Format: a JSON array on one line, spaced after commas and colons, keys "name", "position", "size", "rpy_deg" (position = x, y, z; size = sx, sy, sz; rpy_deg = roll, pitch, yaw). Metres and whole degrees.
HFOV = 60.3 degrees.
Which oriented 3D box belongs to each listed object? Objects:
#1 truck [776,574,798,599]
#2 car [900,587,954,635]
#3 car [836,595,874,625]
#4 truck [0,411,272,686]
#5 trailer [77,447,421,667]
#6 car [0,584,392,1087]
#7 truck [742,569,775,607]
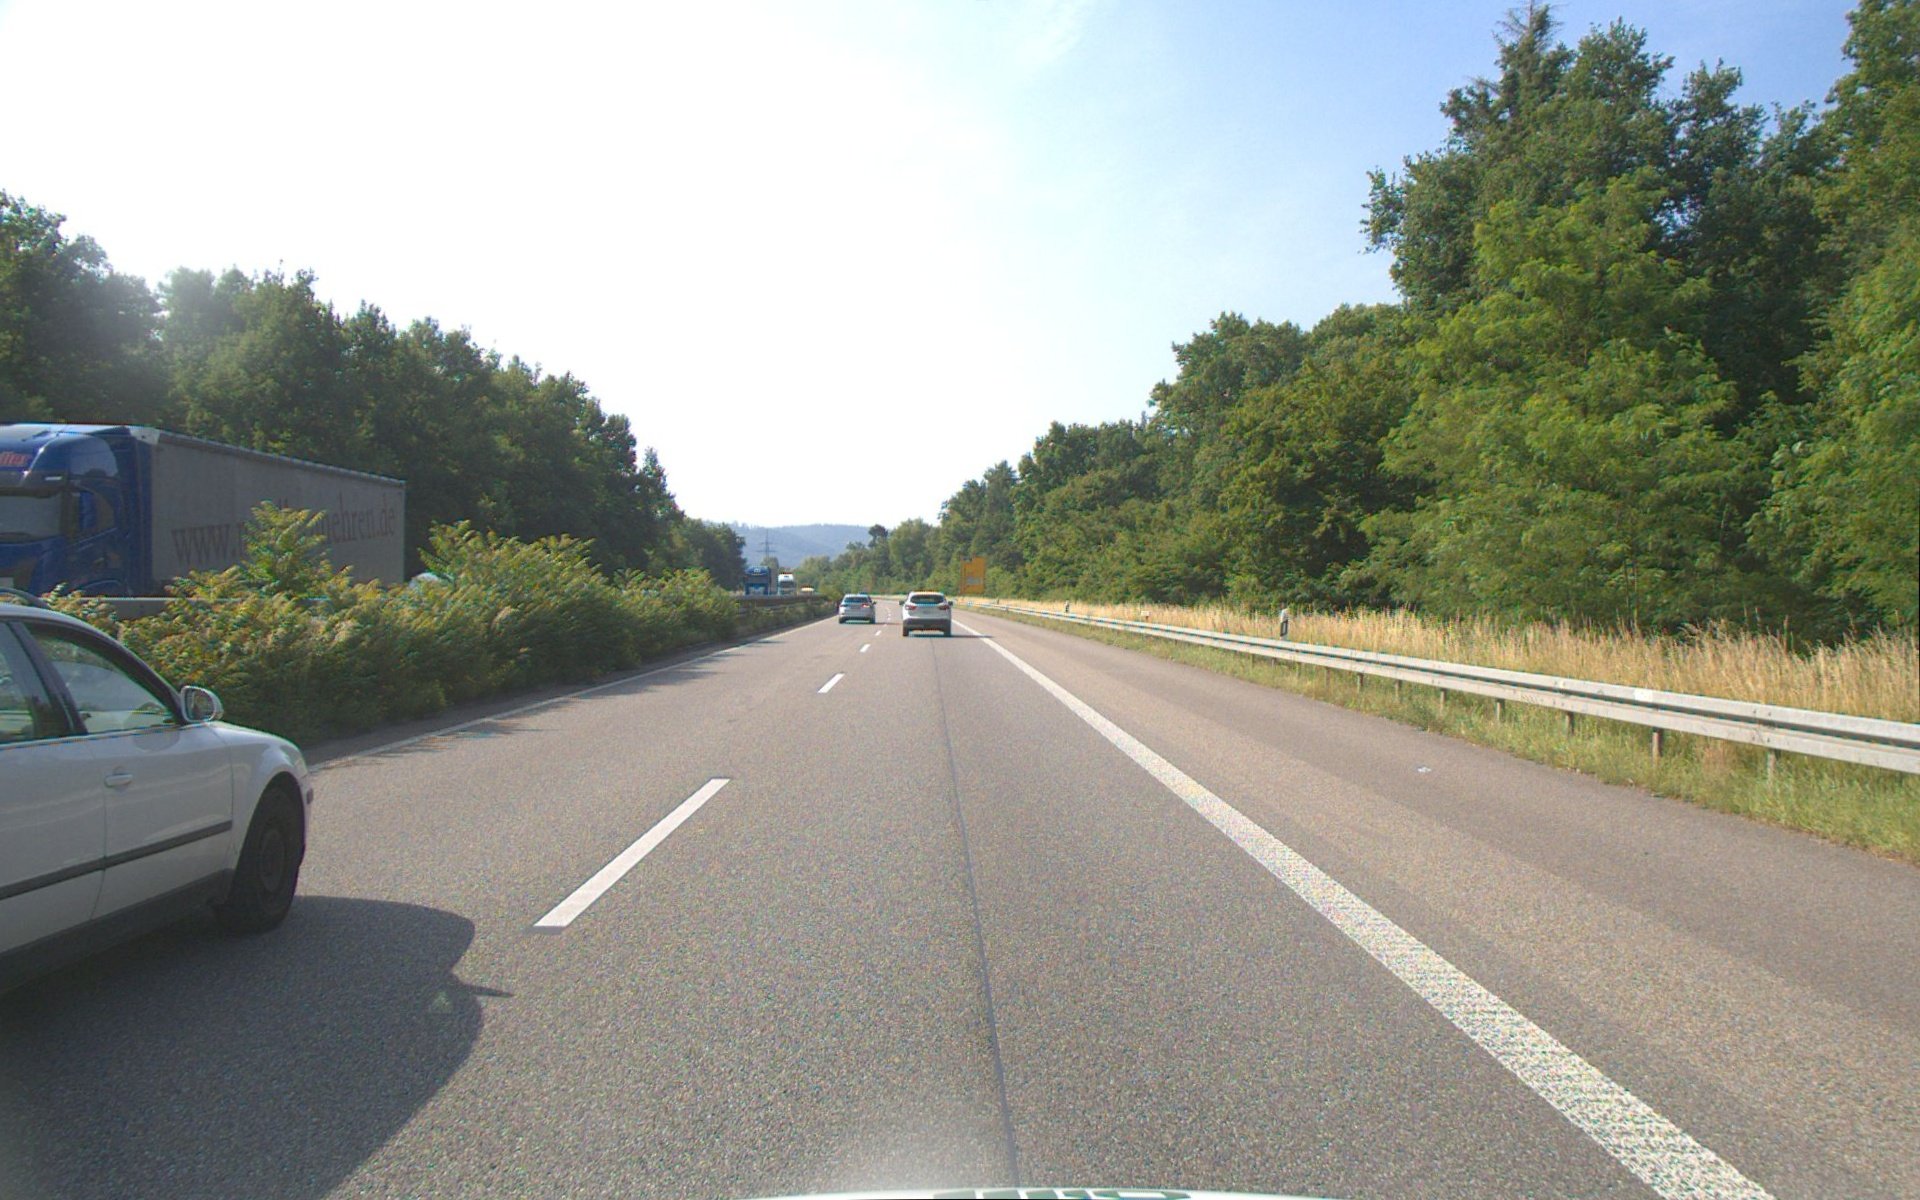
[{"name": "truck", "position": [-26.669, -2.107, 254.971], "size": [2.745, 3.758, 8.471], "rpy_deg": [1, 0, -2]}, {"name": "car", "position": [-1.185, 0.364, 60.288], "size": [1.835, 1.613, 3.999], "rpy_deg": [3, 1, -1]}, {"name": "car", "position": [-5.313, 0.470, 84.391], "size": [1.756, 1.463, 5.276], "rpy_deg": [0, 0, -2]}, {"name": "truck", "position": [-15.040, -0.797, 28.700], "size": [2.728, 4.068, 8.414], "rpy_deg": [1, 0, -1]}, {"name": "trailer", "position": [-15.145, -0.831, 36.622], "size": [2.774, 4.068, 11.431], "rpy_deg": [1, 0, -1]}, {"name": "car", "position": [-3.755, 0.697, 5.893], "size": [1.714, 1.511, 5.262], "rpy_deg": [1, 0, -1]}, {"name": "truck", "position": [-20.879, -1.247, 171.657], "size": [2.745, 3.836, 8.471], "rpy_deg": [1, 0, -2]}]
